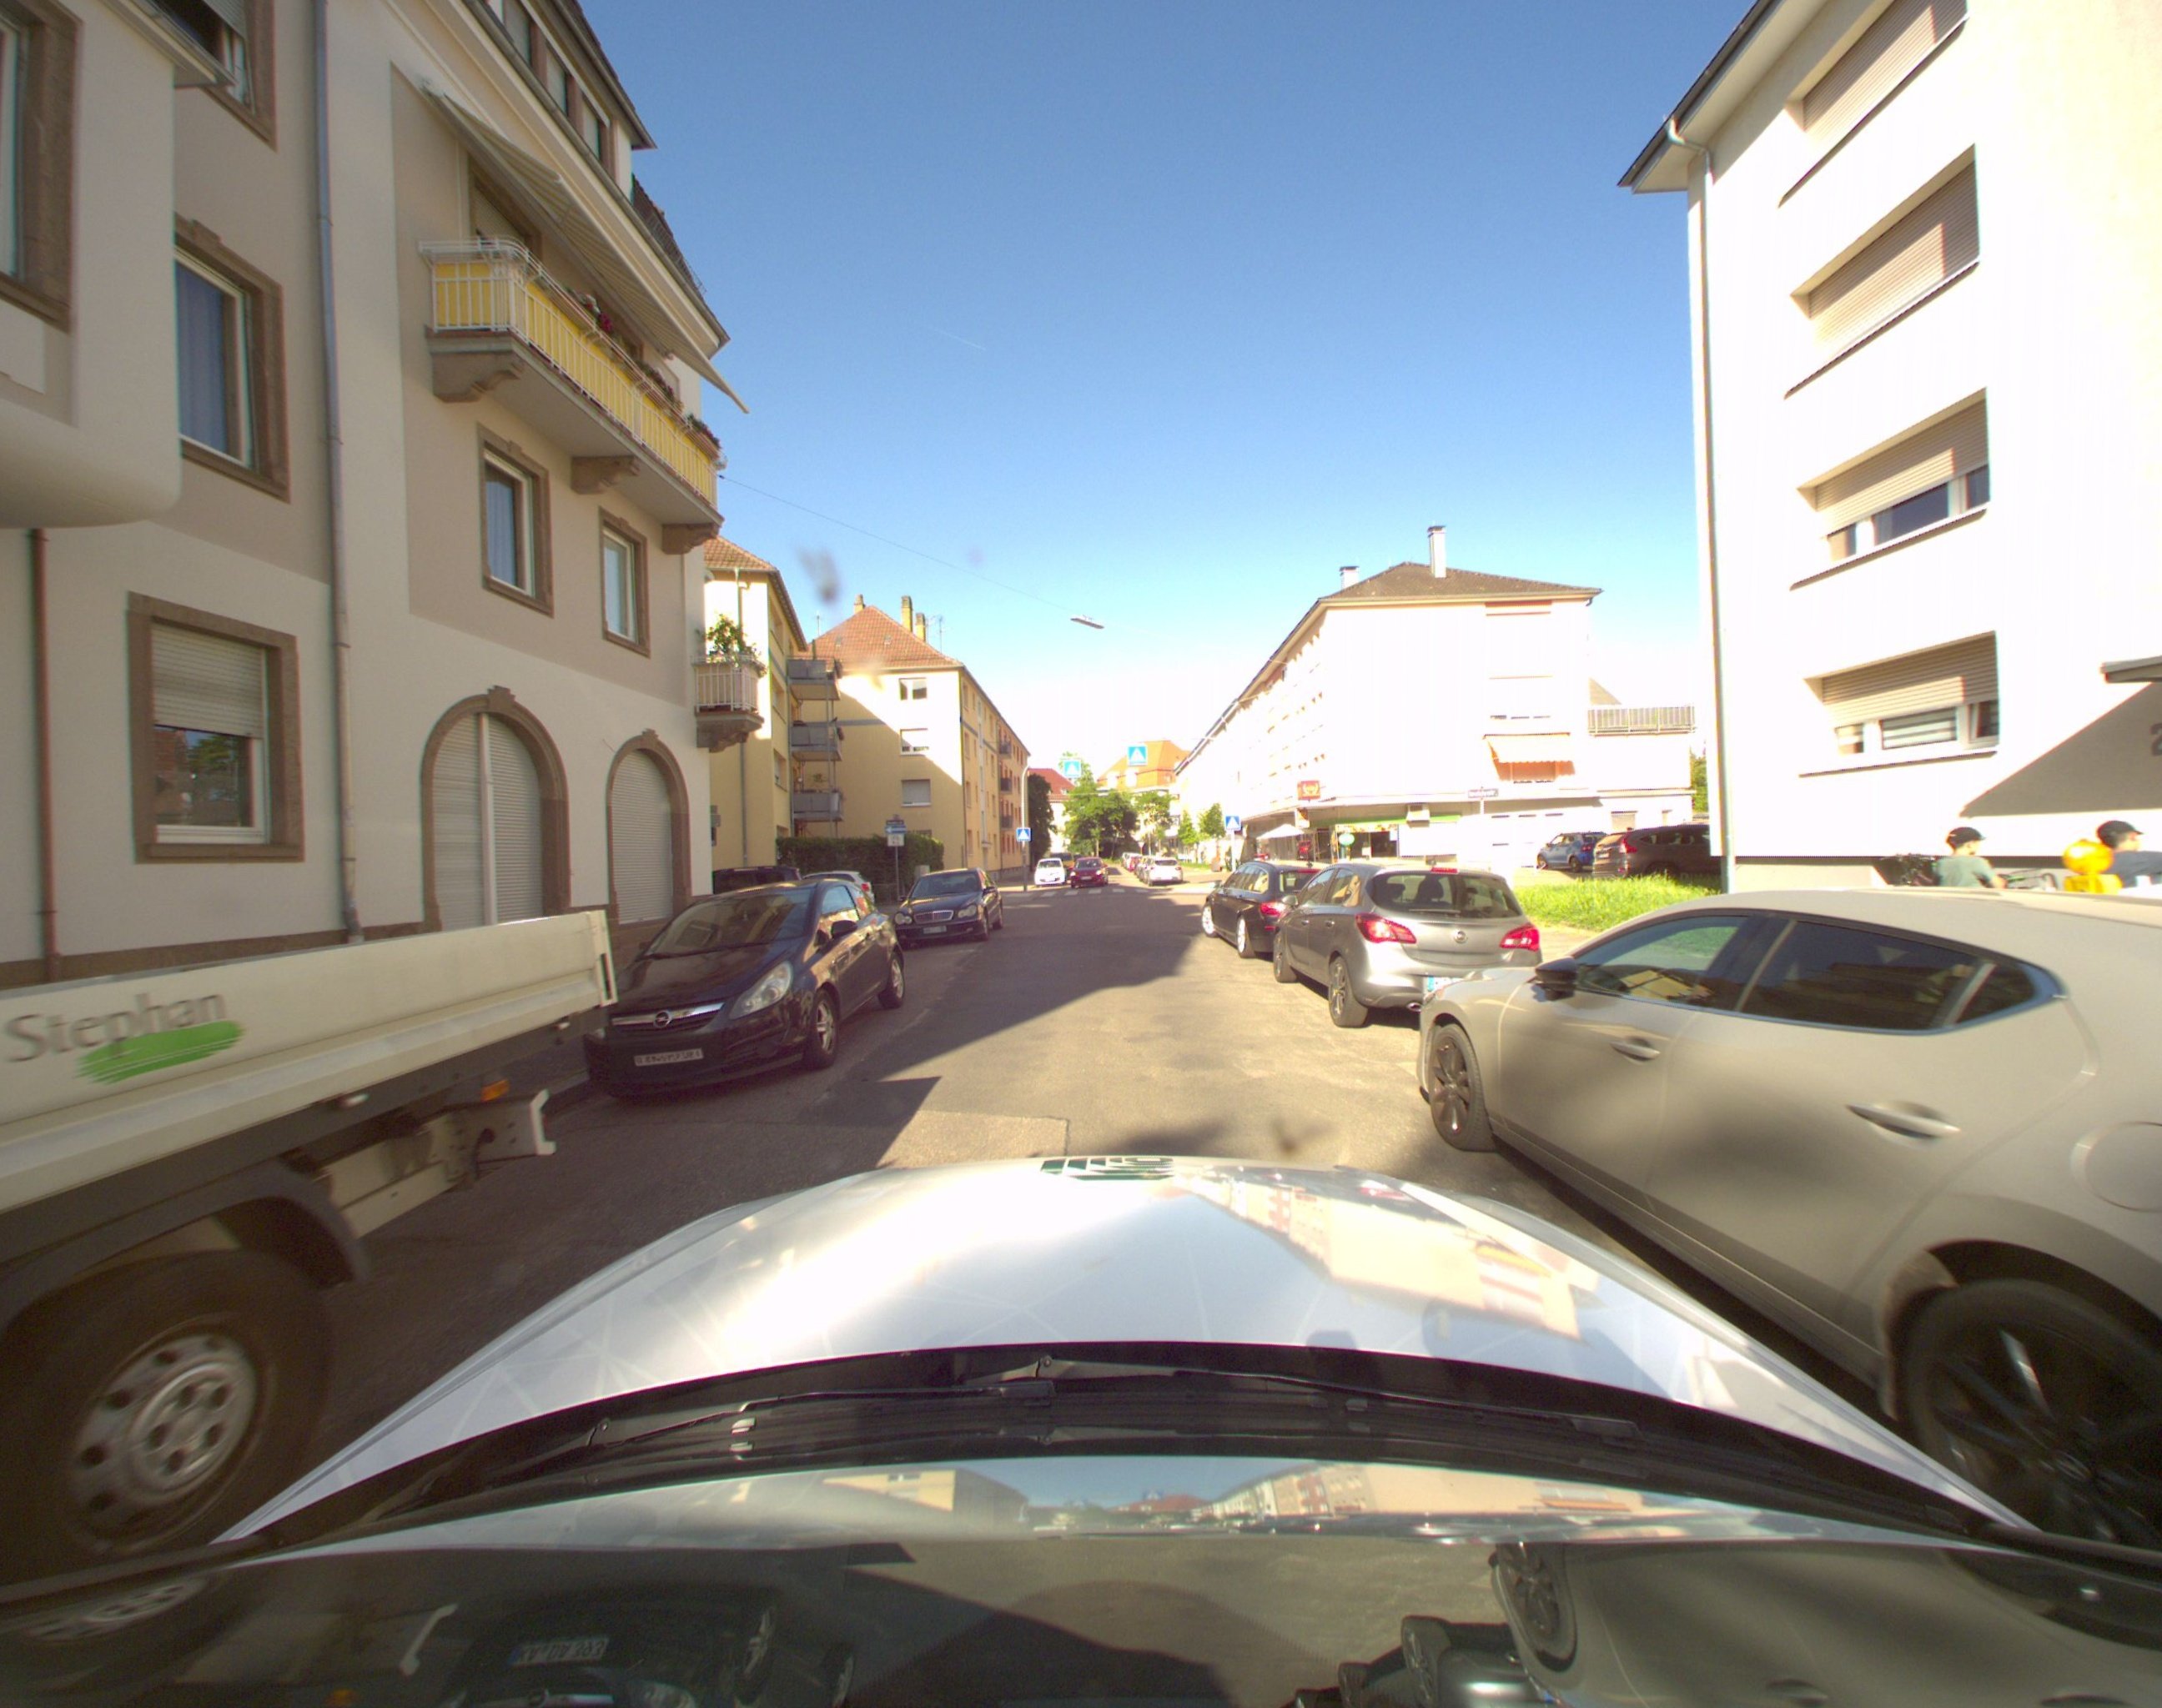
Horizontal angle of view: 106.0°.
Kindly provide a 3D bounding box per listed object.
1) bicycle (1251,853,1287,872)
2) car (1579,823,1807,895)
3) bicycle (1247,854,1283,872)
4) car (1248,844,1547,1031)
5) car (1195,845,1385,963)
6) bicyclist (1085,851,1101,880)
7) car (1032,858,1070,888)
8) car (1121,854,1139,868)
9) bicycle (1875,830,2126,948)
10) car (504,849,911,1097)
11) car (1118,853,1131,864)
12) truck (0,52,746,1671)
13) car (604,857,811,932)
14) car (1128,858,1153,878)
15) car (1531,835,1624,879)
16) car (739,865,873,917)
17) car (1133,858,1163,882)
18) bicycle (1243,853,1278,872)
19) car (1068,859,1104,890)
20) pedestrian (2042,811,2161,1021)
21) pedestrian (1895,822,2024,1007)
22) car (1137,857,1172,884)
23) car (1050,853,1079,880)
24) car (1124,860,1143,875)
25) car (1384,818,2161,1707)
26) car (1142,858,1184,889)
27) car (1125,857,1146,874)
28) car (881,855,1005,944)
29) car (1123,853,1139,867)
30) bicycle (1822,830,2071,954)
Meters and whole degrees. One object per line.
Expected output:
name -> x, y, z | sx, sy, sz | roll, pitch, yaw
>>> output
bicycle -> 10.242, 0.449, 44.362 | 1.806, 0.967, 0.671 | -2, 0, -9
car -> 15.247, 0.132, 20.494 | 4.220, 1.613, 1.828 | -2, 0, 7
bicycle -> 10.138, 0.486, 44.993 | 1.806, 0.967, 0.671 | -2, 0, -9
car -> 2.929, 0.695, 8.480 | 1.639, 1.460, 3.940 | -1, -1, 1
car -> 3.094, 0.696, 13.128 | 1.847, 1.523, 4.777 | -1, -1, 0
bicyclist -> 0.688, 0.648, 46.445 | 0.782, 1.621, 0.958 | -3, 0, 6
car -> -1.636, 1.057, 46.061 | 1.785, 1.480, 4.101 | -3, 0, 2
car -> 5.009, 0.701, 83.800 | 1.632, 1.441, 3.419 | -2, 0, 1
bicycle -> 9.550, 0.324, 8.591 | 0.444, 1.061, 1.899 | -7, 0, 2
car -> -2.810, 0.785, 7.244 | 1.640, 1.416, 4.079 | -6, -1, -1
car -> 5.739, 0.591, 107.529 | 1.632, 1.441, 3.419 | -2, 0, 1
truck -> -3.108, 0.010, 0.879 | 2.252, 2.986, 7.274 | -5, -1, 0
car -> -9.230, 0.966, 20.524 | 4.474, 1.615, 1.768 | -2, 0, -17
car -> 4.458, 1.021, 61.307 | 1.632, 1.441, 3.418 | -2, 0, 0
car -> 19.743, 0.110, 32.546 | 1.573, 1.613, 3.475 | -2, 0, 0
car -> -8.872, 1.171, 26.585 | 3.988, 1.479, 1.586 | -2, 0, -16
car -> 4.238, 1.014, 52.264 | 1.632, 1.441, 3.418 | -2, 0, 0
bicycle -> 10.040, 0.467, 45.624 | 1.806, 0.967, 0.671 | -2, 0, -9
car -> 0.266, 0.984, 40.778 | 1.691, 1.441, 3.419 | -2, 0, 1
pedestrian -> 7.579, 0.421, 5.912 | 0.470, 1.433, 0.575 | -3, 0, -9
pedestrian -> 7.172, 0.476, 6.664 | 0.449, 1.433, 0.507 | -3, 0, -4
car -> 4.211, 0.941, 46.773 | 1.685, 1.441, 3.418 | -2, 0, 0
car -> -1.128, 0.862, 56.970 | 1.691, 1.779, 4.100 | -2, 0, 2
car -> 5.075, 1.321, 79.132 | 1.632, 1.441, 3.419 | 0, 0, 1
car -> 2.759, 0.722, 3.014 | 1.785, 1.471, 4.341 | 2, -1, 2
car -> 4.167, 0.953, 41.655 | 1.839, 1.441, 3.419 | -2, 0, 1
car -> 4.875, 1.041, 72.823 | 1.632, 1.441, 3.419 | -2, 0, 1
car -> -2.679, 0.845, 16.775 | 1.699, 1.416, 4.372 | -6, -1, -1
car -> 5.409, 0.614, 88.319 | 1.632, 1.441, 3.419 | -2, 0, 1
bicycle -> 9.039, 0.355, 8.642 | 0.557, 1.119, 1.899 | -7, 0, 2
